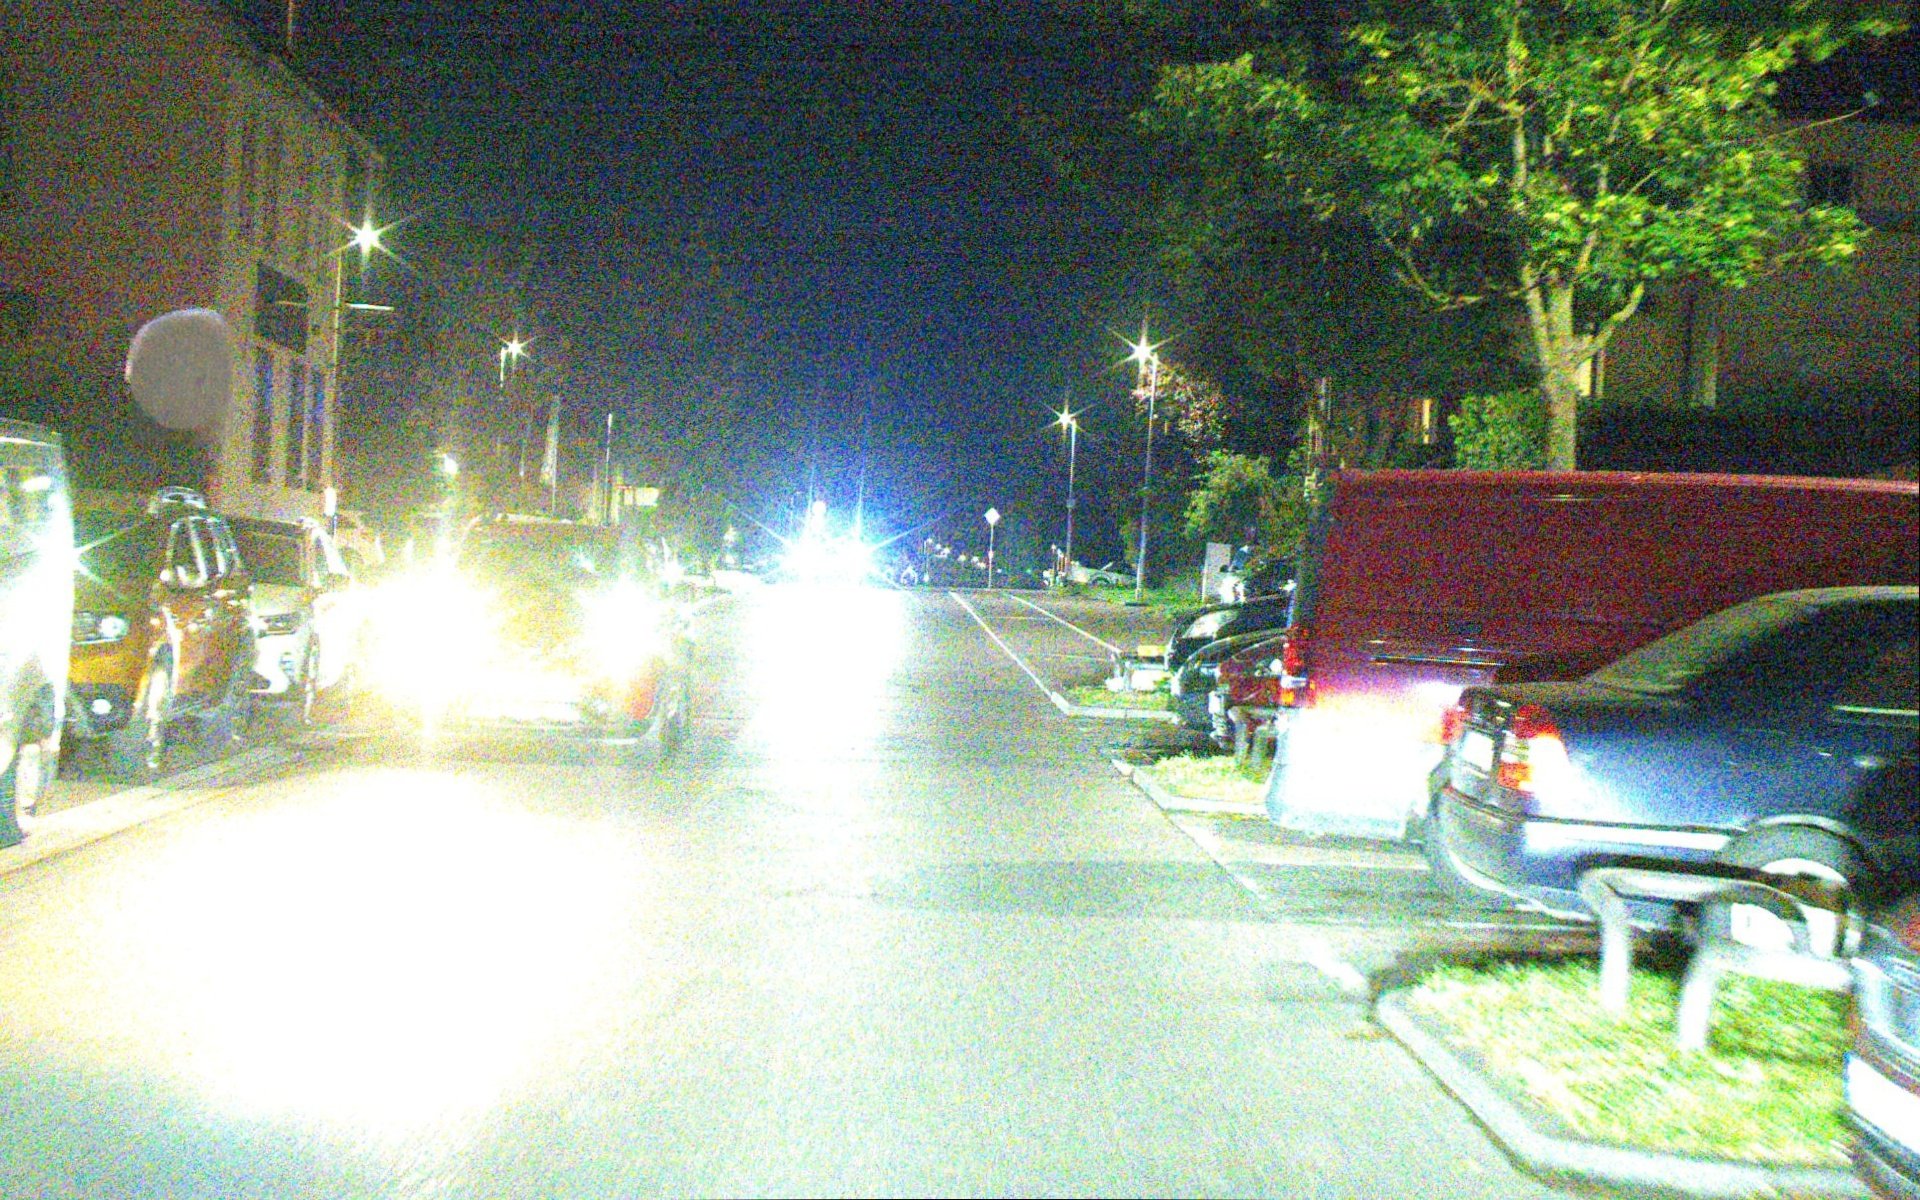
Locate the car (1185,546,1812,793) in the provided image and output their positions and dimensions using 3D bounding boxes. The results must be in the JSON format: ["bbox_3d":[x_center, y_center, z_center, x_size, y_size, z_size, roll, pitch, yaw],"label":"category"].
[{"bbox_3d":[3.593,0.455,23.452,3.916,1.509,1.855,2,0,-1],"label":"car"}]

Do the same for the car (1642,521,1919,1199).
[{"bbox_3d":[3.913,0.725,6.767,4.654,1.552,2.107,3,1,0],"label":"car"}]

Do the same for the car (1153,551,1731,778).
[{"bbox_3d":[3.523,0.457,25.595,3.915,1.508,1.855,2,1,-4],"label":"car"}]

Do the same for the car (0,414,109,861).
[{"bbox_3d":[-5.133,0.105,14.140,2.115,1.940,4.889,5,1,-3],"label":"car"}]

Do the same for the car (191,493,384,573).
[{"bbox_3d":[-14.472,-1.441,74.160,3.986,1.697,1.949,0,1,-8],"label":"car"}]

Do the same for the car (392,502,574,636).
[{"bbox_3d":[-6.488,-0.451,47.211,1.928,1.631,4.471,4,1,-2],"label":"car"}]

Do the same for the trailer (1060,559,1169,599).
[{"bbox_3d":[5.157,-0.716,115.034,3.432,0.999,1.954,6,0,-1],"label":"trailer"}]

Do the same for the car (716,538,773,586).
[{"bbox_3d":[-7.680,-1.347,122.697,1.672,1.585,3.987,4,1,1],"label":"car"}]

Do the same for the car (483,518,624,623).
[{"bbox_3d":[-6.170,-0.476,52.551,1.770,1.463,3.967,2,1,-2],"label":"car"}]

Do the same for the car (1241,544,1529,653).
[{"bbox_3d":[6.125,-0.031,49.901,3.904,1.481,1.833,1,1,-1],"label":"car"}]

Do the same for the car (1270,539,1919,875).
[{"bbox_3d":[3.629,0.517,17.861,3.916,1.546,1.987,2,1,4],"label":"car"}]

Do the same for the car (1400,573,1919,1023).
[{"bbox_3d":[3.906,0.690,12.270,4.398,1.415,1.935,2,1,1],"label":"car"}]

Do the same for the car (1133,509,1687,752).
[{"bbox_3d":[3.681,0.223,28.604,4.355,1.810,2.031,2,1,5],"label":"car"}]

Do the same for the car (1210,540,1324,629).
[{"bbox_3d":[5.715,-0.313,64.378,1.639,1.554,3.679,2,1,-2],"label":"car"}]

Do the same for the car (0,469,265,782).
[{"bbox_3d":[-5.648,0.052,20.822,2.115,1.664,4.170,3,1,-3],"label":"car"}]

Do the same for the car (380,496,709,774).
[{"bbox_3d":[-2.777,0.186,23.747,1.719,1.709,3.961,2,1,0],"label":"car"}]

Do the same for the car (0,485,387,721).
[{"bbox_3d":[-5.793,-0.025,26.484,2.115,1.542,4.478,3,1,-3],"label":"car"}]
